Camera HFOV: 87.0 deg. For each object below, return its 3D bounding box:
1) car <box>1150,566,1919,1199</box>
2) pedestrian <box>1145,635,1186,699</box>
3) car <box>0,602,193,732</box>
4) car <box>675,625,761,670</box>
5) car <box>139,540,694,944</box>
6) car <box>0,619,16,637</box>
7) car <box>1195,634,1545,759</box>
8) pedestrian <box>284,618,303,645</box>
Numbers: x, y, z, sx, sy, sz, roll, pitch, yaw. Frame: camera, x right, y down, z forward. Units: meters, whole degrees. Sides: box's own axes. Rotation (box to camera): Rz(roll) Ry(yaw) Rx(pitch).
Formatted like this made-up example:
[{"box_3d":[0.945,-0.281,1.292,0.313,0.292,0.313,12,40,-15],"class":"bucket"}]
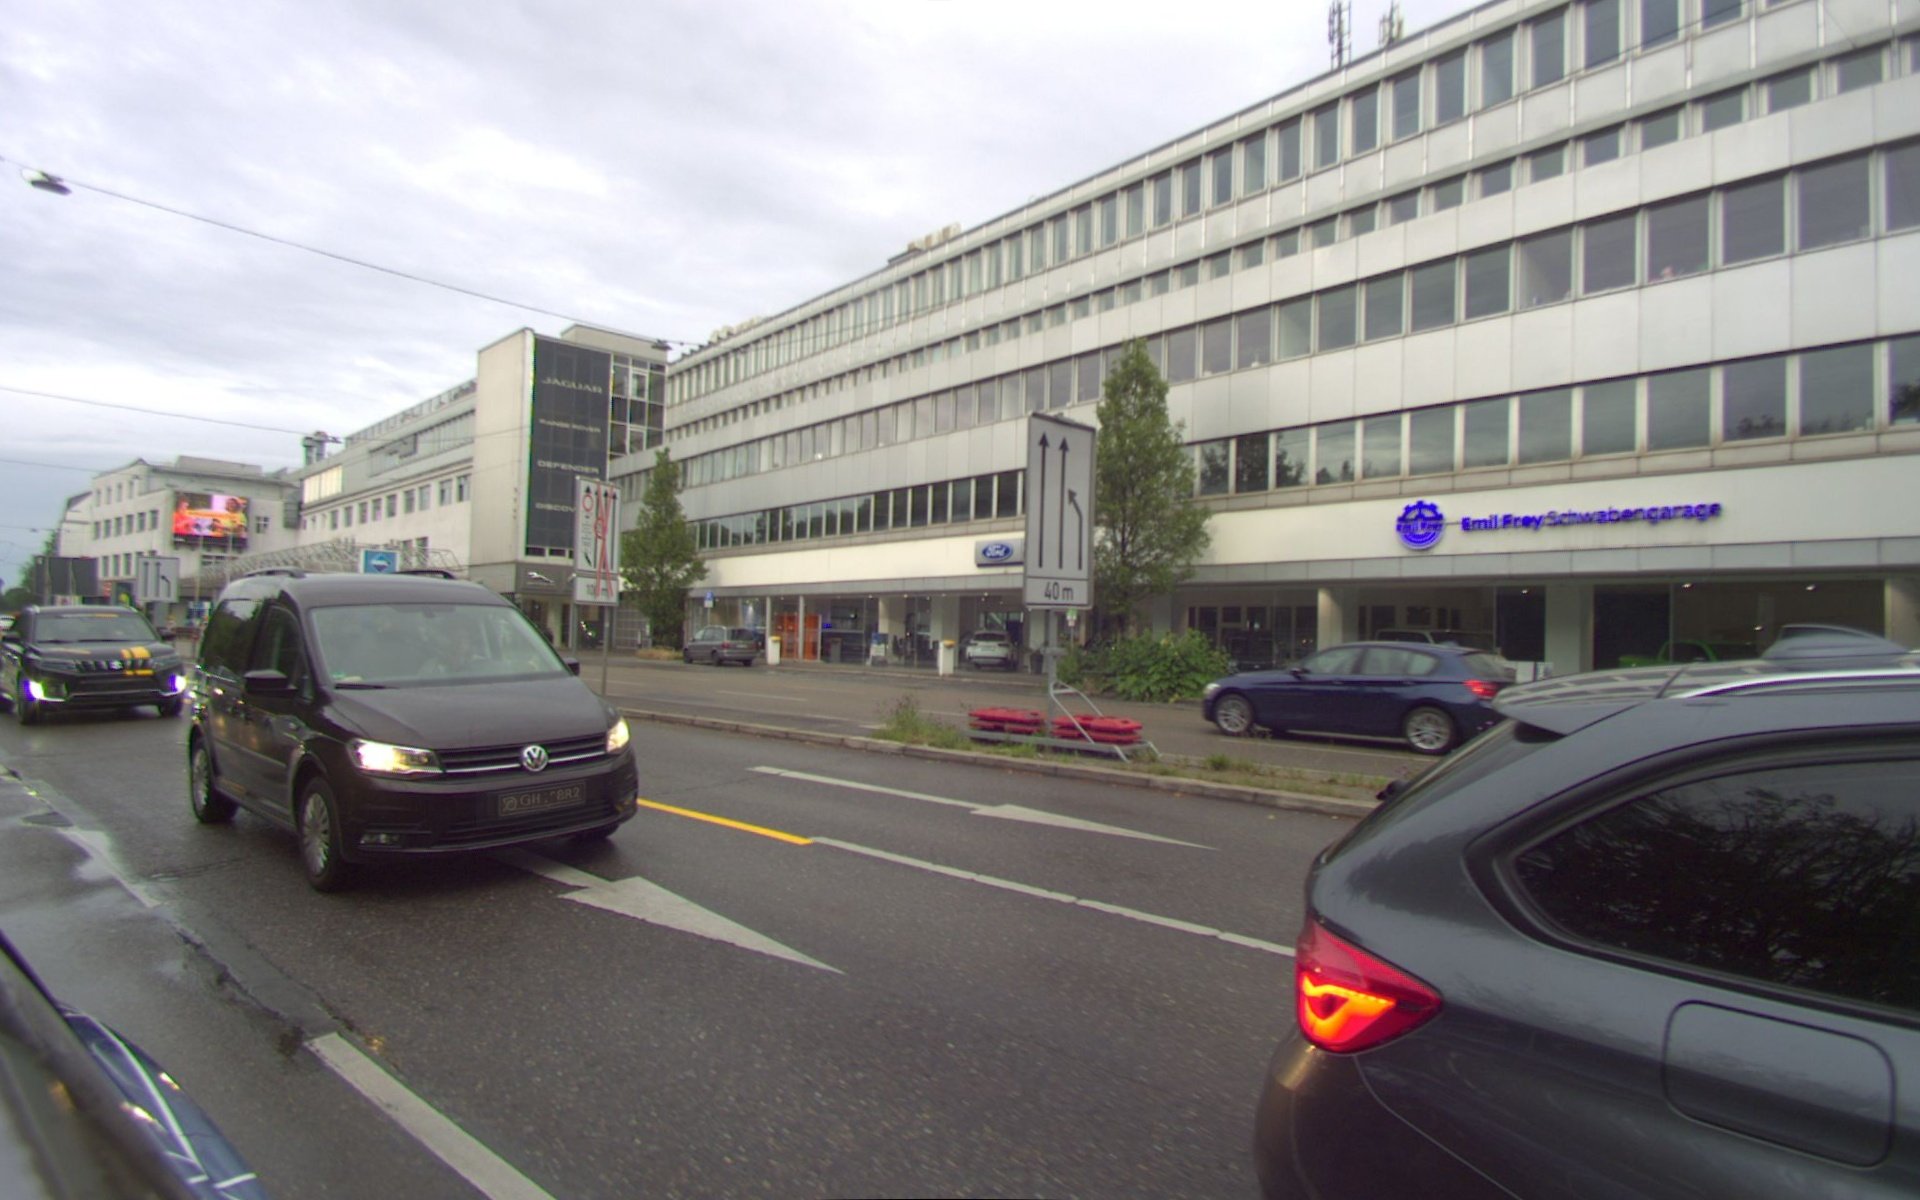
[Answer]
[{"box_3d":[2.555,0.714,0.844,4.477,1.469,1.757,-1,-3,42],"class":"car"},{"box_3d":[5.961,1.922,29.409,0.750,1.788,0.865,0,0,-42],"class":"pedestrian"},{"box_3d":[-12.782,0.862,14.730,4.332,1.611,1.790,-1,0,42],"class":"car"},{"box_3d":[-10.829,2.089,45.131,1.896,1.829,4.168,-1,0,-44],"class":"car"},{"box_3d":[-3.855,0.662,6.779,4.429,1.828,1.880,-1,0,42],"class":"car"},{"box_3d":[-90.423,2.629,95.280,3.762,1.544,1.782,-2,-5,41],"class":"car"},{"box_3d":[5.567,1.235,14.087,4.214,1.430,1.667,-1,-3,42],"class":"car"},{"box_3d":[-44.803,2.106,68.013,0.941,1.828,0.883,-1,0,45],"class":"pedestrian"}]
